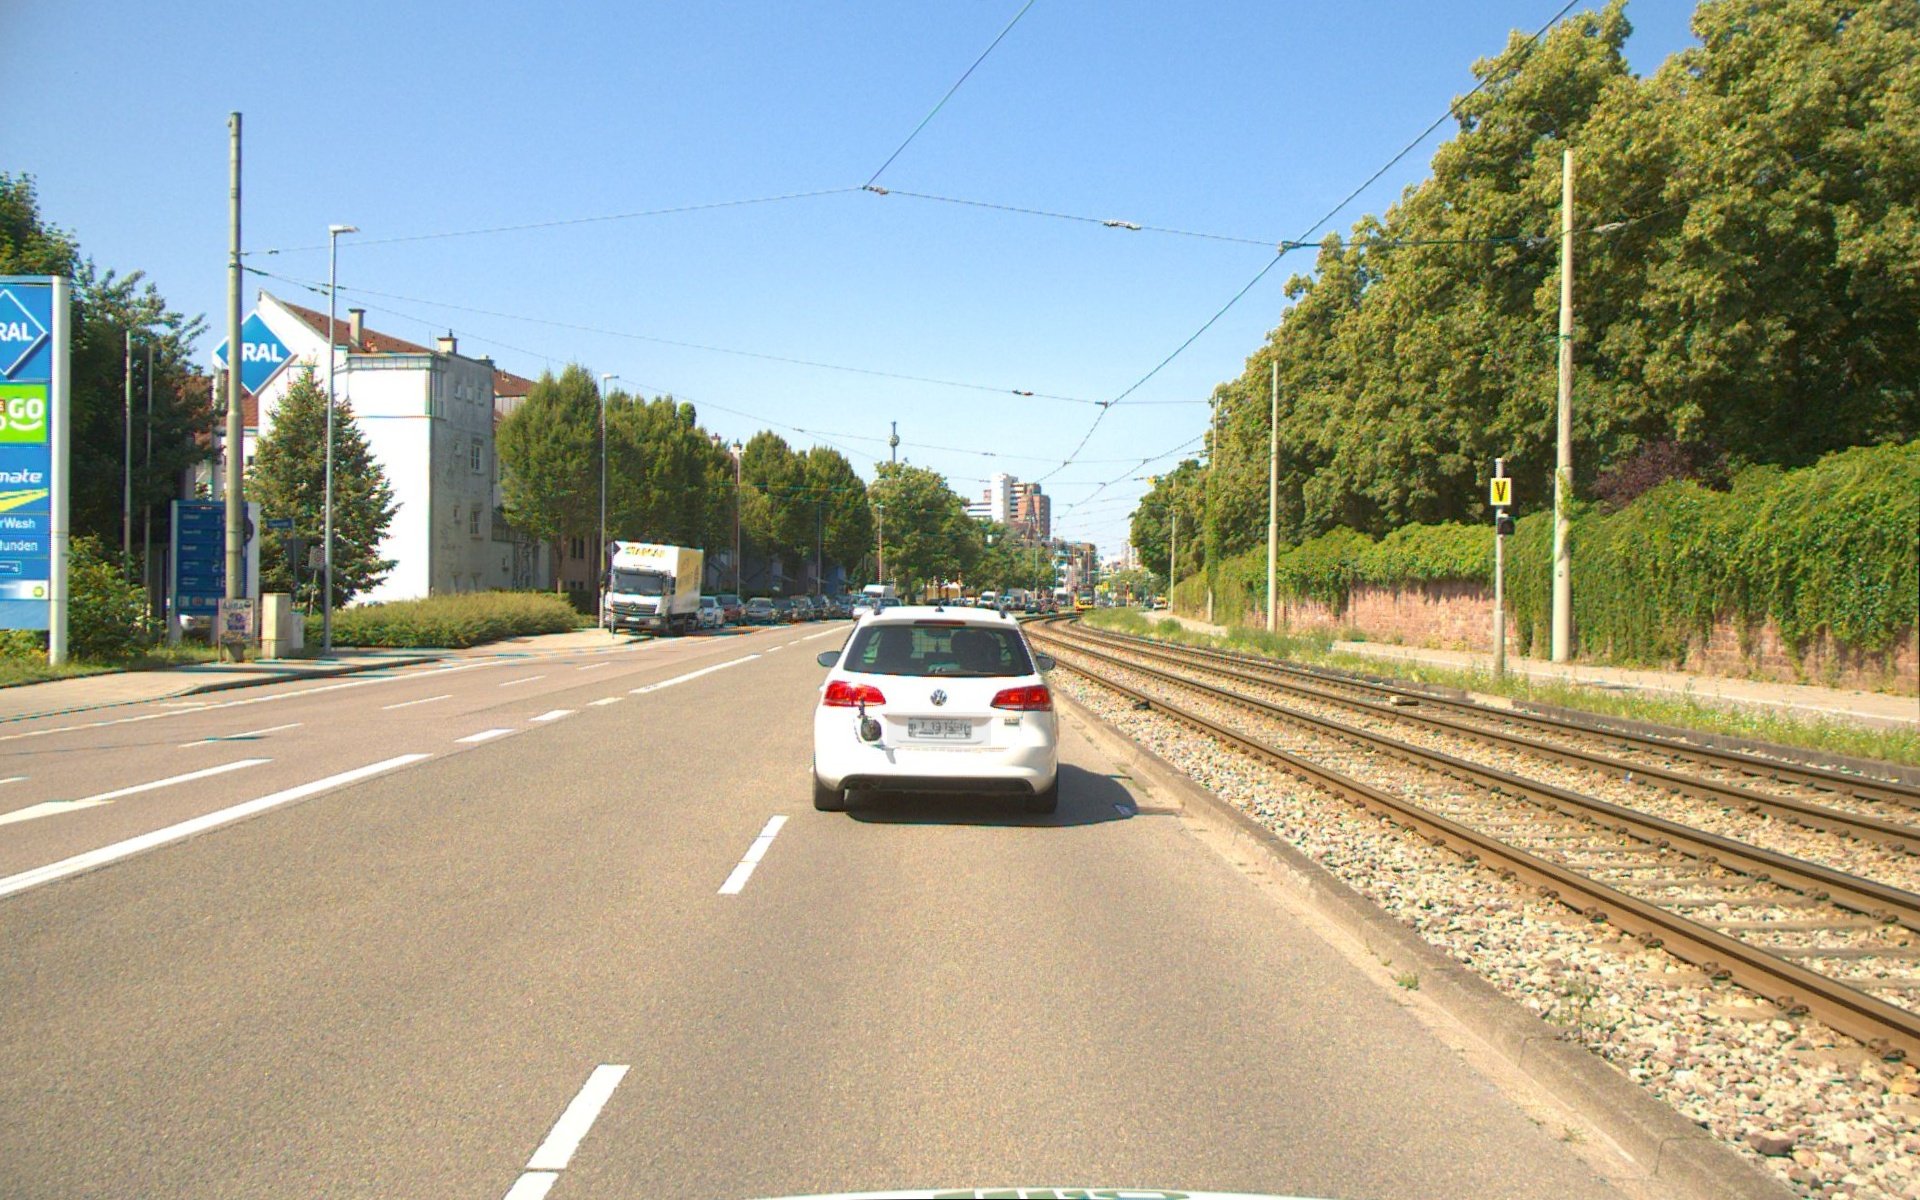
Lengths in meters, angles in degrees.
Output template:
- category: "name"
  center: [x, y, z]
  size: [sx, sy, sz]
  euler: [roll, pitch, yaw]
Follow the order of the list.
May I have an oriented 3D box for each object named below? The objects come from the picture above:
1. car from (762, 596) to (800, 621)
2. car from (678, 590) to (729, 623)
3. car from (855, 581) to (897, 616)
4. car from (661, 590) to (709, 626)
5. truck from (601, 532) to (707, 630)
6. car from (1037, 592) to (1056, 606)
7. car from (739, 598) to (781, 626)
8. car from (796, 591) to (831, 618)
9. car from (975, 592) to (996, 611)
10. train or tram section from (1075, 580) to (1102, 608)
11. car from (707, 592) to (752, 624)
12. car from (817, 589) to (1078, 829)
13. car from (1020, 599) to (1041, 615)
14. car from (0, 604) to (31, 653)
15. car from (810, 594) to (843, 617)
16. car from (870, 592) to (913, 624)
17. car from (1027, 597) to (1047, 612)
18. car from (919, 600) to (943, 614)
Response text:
- category: "car"
  center: [-11.229, 0.523, 104.095]
  size: [1.687, 1.500, 4.716]
  euler: [2, 0, 2]
- category: "car"
  center: [-12.223, 0.291, 79.087]
  size: [1.721, 1.454, 4.281]
  euler: [2, 0, 0]
- category: "car"
  center: [-7.066, -0.083, 140.101]
  size: [1.952, 2.761, 7.162]
  euler: [3, 0, 9]
- category: "car"
  center: [-12.262, 0.328, 73.880]
  size: [1.577, 1.509, 3.634]
  euler: [2, 0, -2]
- category: "truck"
  center: [-12.165, -0.739, 66.510]
  size: [2.612, 3.591, 8.590]
  euler: [2, 0, 0]
- category: "car"
  center: [9.463, -0.140, 180.501]
  size: [1.762, 1.486, 4.003]
  euler: [0, 0, 7]
- category: "car"
  center: [-11.781, 0.702, 97.602]
  size: [1.744, 1.509, 4.857]
  euler: [2, 0, 1]
- category: "car"
  center: [-10.222, 0.310, 115.586]
  size: [1.732, 1.753, 4.872]
  euler: [2, 0, 3]
- category: "car"
  center: [3.352, 0.229, 216.927]
  size: [1.840, 2.458, 5.120]
  euler: [0, 0, 11]
- category: "train or tram section"
  center: [17.630, -0.775, 226.725]
  size: [2.457, 3.812, 13.322]
  euler: [0, 0, 10]
- category: "car"
  center: [-12.053, 0.395, 86.786]
  size: [1.695, 1.579, 4.318]
  euler: [2, 0, 0]
- category: "car"
  center: [-0.157, 0.693, 12.926]
  size: [1.657, 1.476, 4.457]
  euler: [1, 1, -2]
- category: "car"
  center: [7.169, 0.699, 166.781]
  size: [1.762, 1.533, 4.003]
  euler: [1, 0, 7]
- category: "car"
  center: [-31.579, 0.900, 52.383]
  size: [3.522, 1.510, 1.662]
  euler: [0, 0, 12]
- category: "car"
  center: [-9.716, 0.398, 121.049]
  size: [1.655, 1.500, 4.051]
  euler: [3, 0, 5]
- category: "car"
  center: [-3.531, 0.398, 85.492]
  size: [1.763, 1.533, 4.002]
  euler: [1, 1, 4]
- category: "car"
  center: [8.111, 0.483, 173.272]
  size: [1.762, 1.485, 4.003]
  euler: [1, 0, 7]
- category: "car"
  center: [-2.952, 0.688, 170.159]
  size: [1.663, 1.442, 4.003]
  euler: [0, 0, 11]
